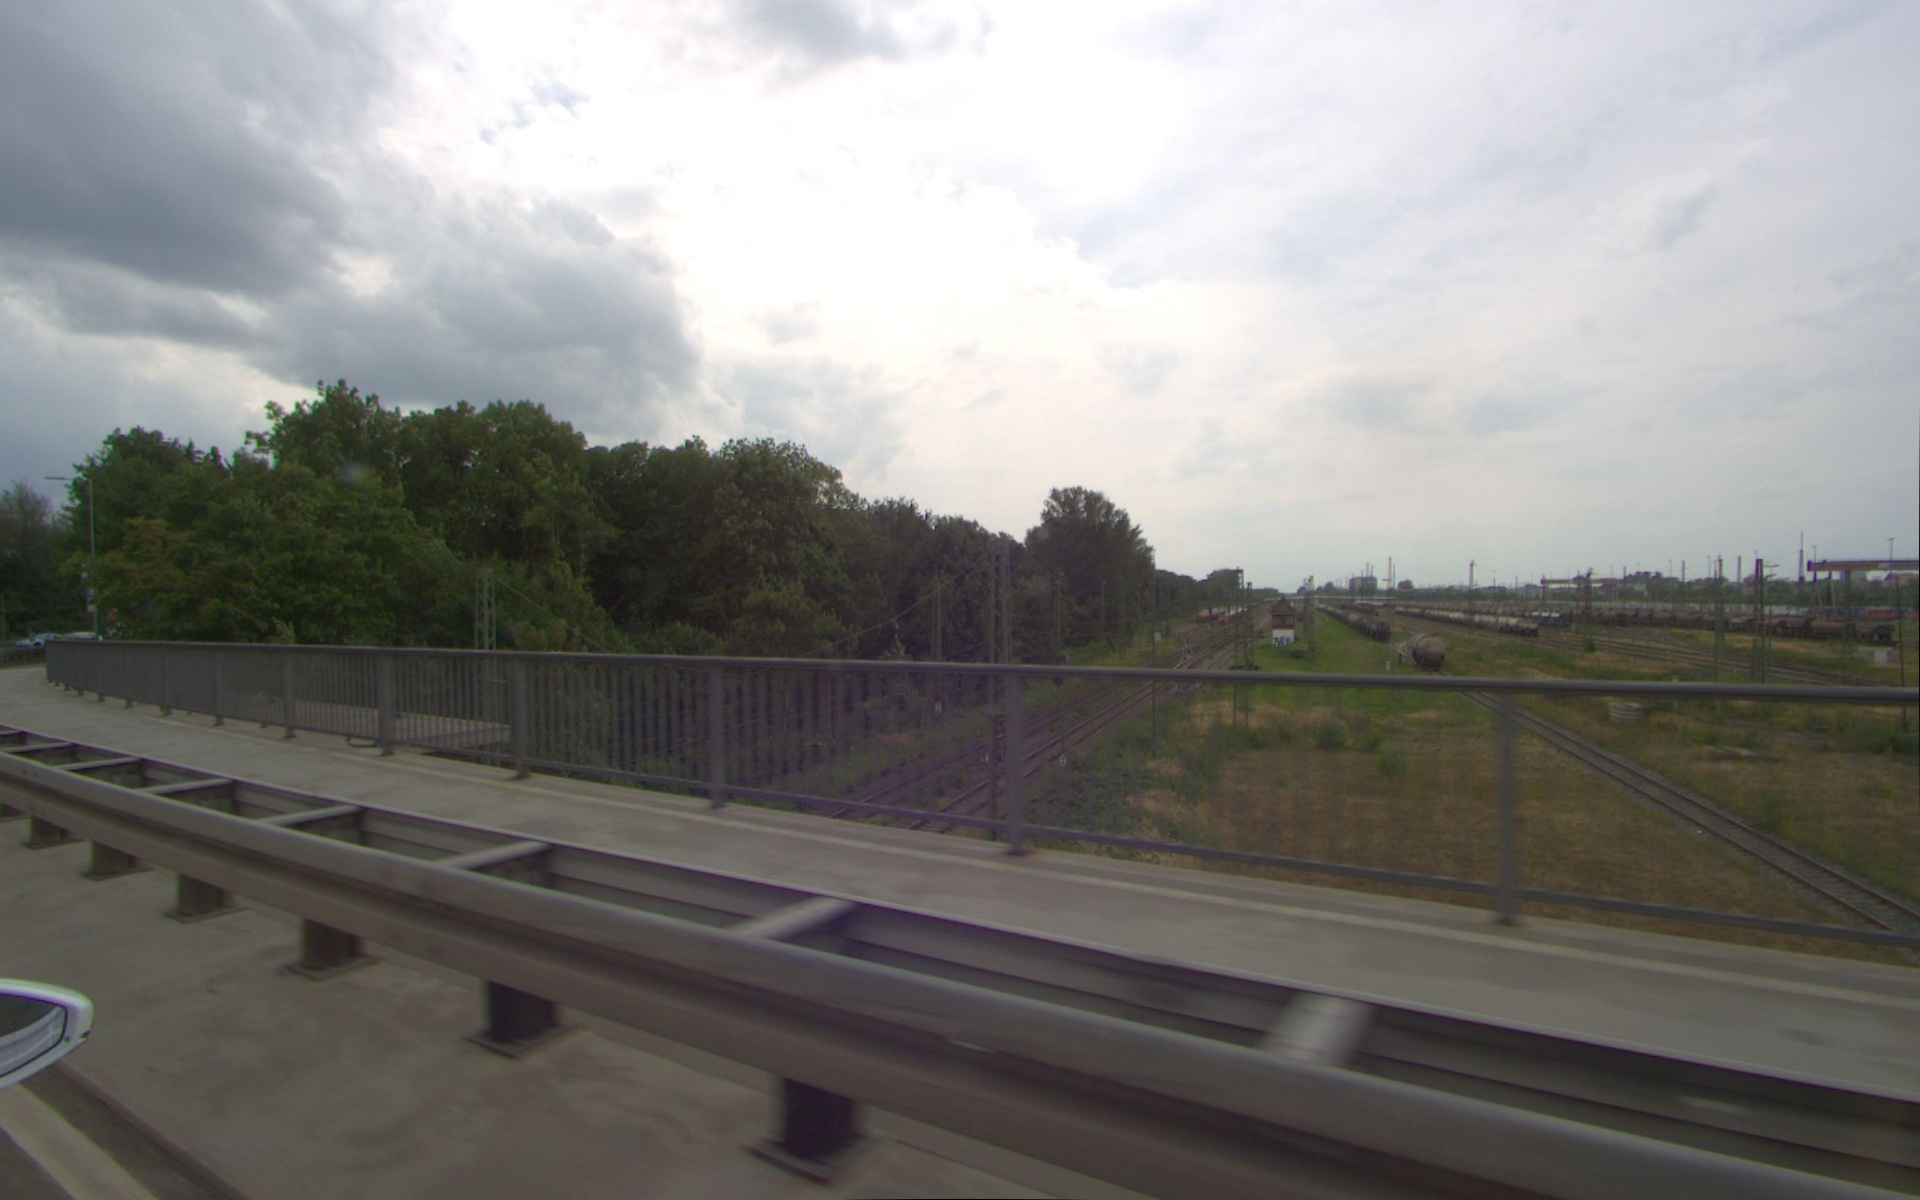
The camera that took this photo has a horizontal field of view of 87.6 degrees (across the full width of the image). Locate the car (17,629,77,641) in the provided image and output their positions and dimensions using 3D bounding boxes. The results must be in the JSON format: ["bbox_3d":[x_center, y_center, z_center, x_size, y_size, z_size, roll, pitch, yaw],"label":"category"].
[{"bbox_3d":[-91.021,3.484,99.929,1.961,1.220,4.225,0,-2,5],"label":"car"}]

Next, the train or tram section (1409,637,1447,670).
[{"bbox_3d":[63.758,7.174,136.569,3.195,4.221,11.372,0,-2,18],"label":"train or tram section"}]

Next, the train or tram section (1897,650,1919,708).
[{"bbox_3d":[91.734,7.372,87.971,3.923,5.549,25.651,-1,-2,20],"label":"train or tram section"}]

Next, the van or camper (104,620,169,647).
[{"bbox_3d":[-82.420,3.362,100.328,2.127,2.621,6.493,0,-2,-11],"label":"van or camper"}]

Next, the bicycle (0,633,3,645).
[{"bbox_3d":[-86.707,3.477,89.273,1.907,1.066,0.708,-2,-1,-4],"label":"bicycle"}]
